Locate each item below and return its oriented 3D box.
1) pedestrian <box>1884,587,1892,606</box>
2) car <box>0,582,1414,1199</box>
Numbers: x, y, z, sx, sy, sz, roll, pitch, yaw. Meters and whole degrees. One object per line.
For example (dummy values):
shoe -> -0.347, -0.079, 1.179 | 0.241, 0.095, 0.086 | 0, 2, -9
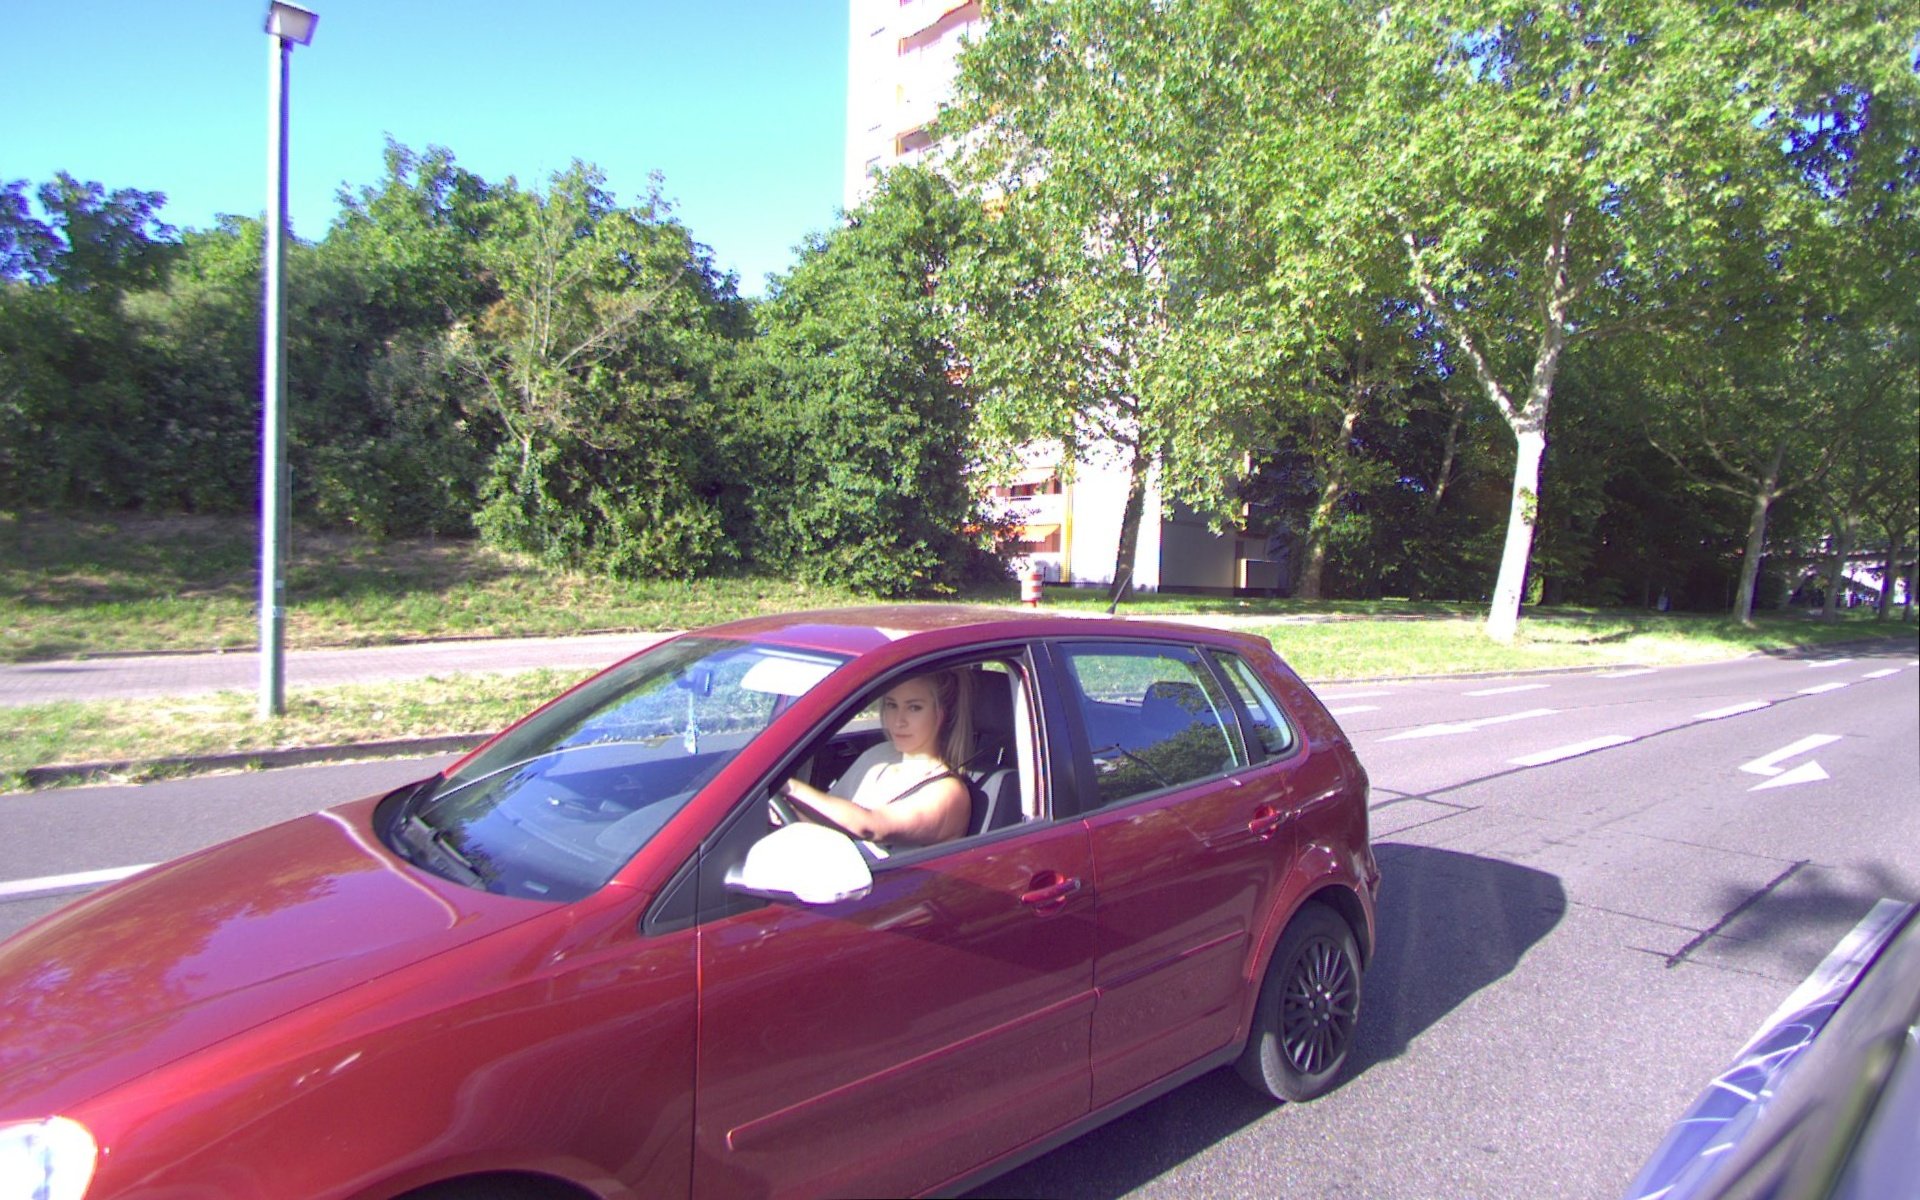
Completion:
pedestrian -> 75.202, -0.276, 82.035 | 0.409, 1.481, 0.399 | 0, 1, -34
car -> -0.460, 0.692, 2.760 | 3.627, 1.434, 1.626 | 0, 1, -39
